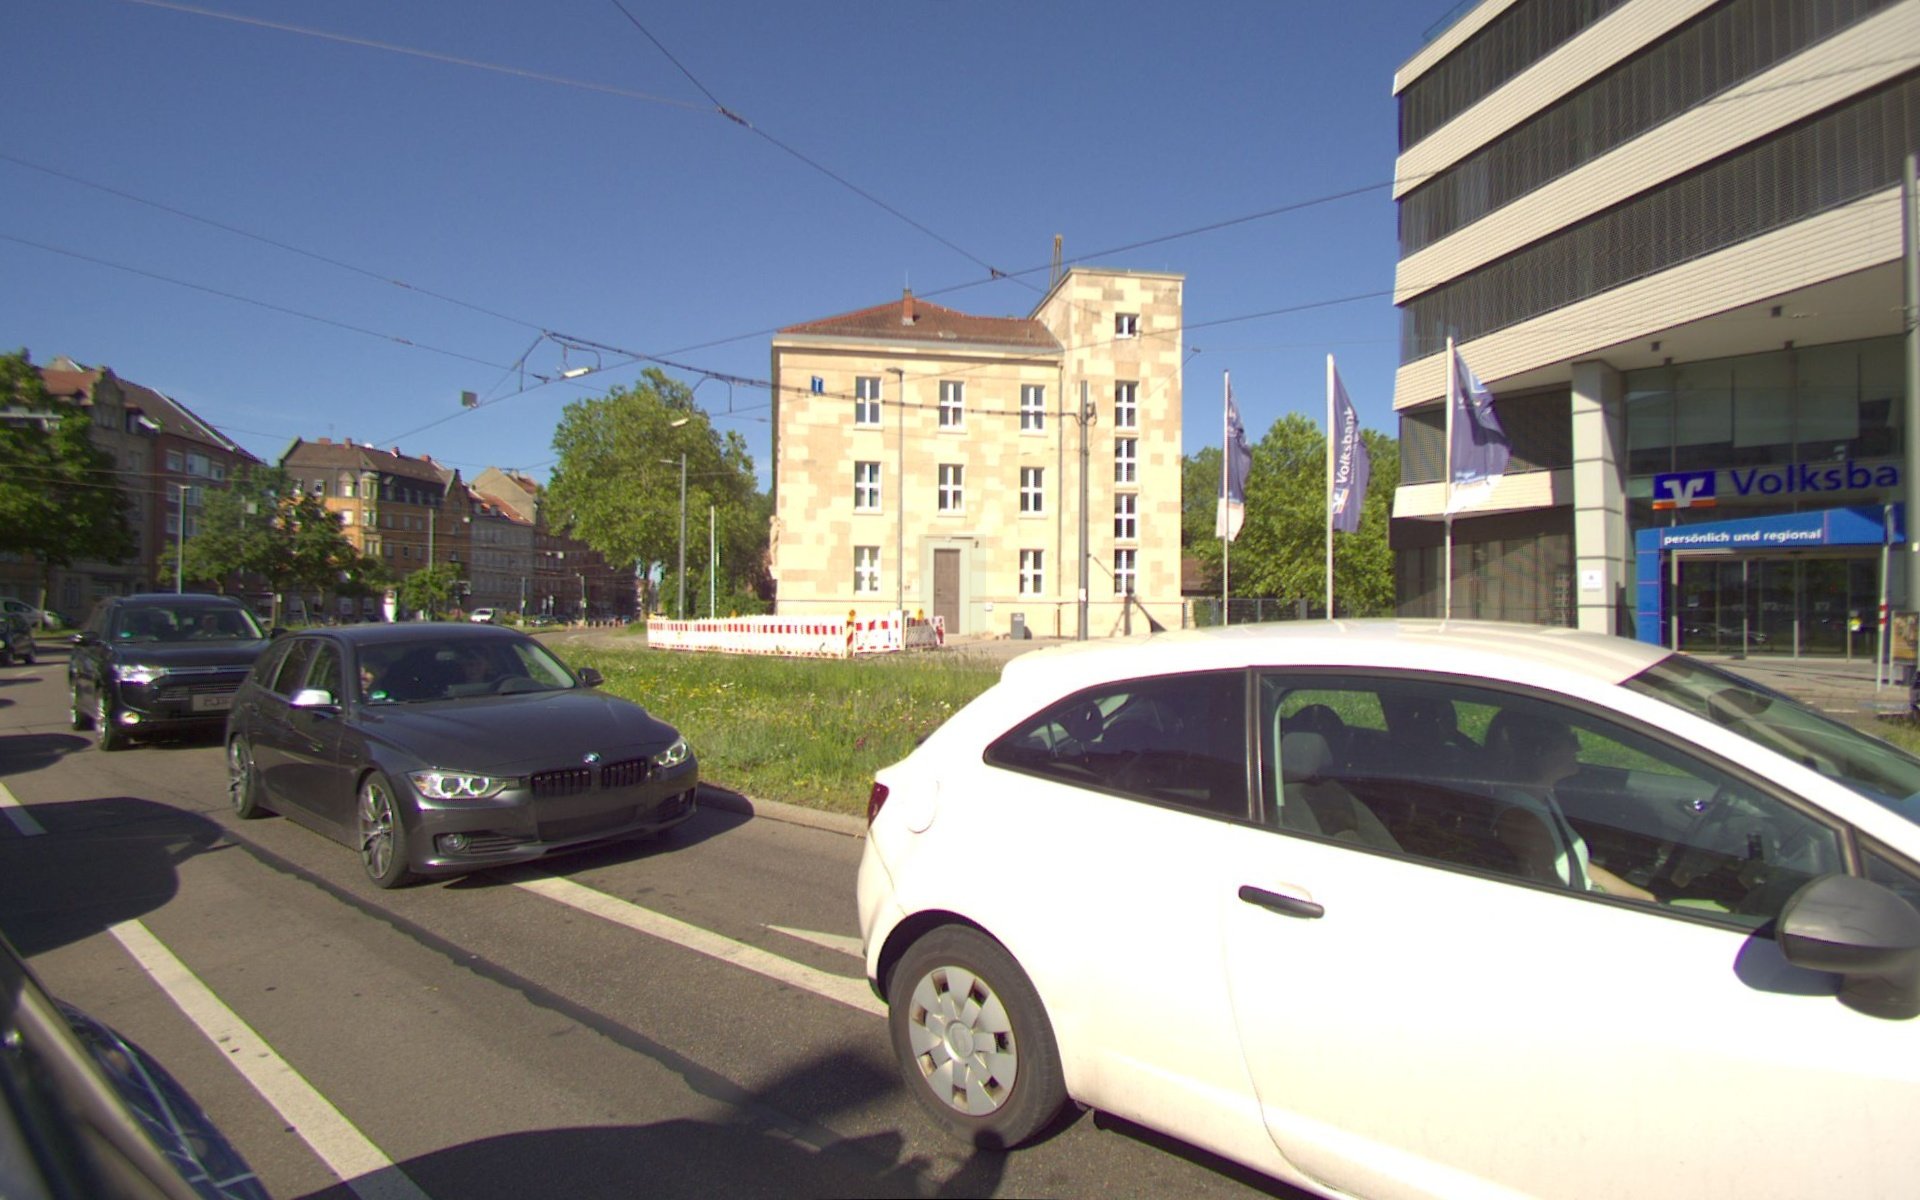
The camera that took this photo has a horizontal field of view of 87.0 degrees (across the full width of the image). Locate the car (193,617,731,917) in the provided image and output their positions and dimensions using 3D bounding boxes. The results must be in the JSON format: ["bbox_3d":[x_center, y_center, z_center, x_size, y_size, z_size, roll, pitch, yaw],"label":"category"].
[{"bbox_3d":[-3.603,0.827,6.884,4.424,1.377,1.719,-1,0,41],"label":"car"}]

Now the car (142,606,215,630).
[{"bbox_3d":[-53.938,1.272,69.877,3.771,1.603,1.601,2,-2,-44],"label":"car"}]

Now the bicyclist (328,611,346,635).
[{"bbox_3d":[-44.625,1.663,72.530,0.724,1.707,0.972,0,-1,-6],"label":"bicyclist"}]

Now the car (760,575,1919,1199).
[{"bbox_3d":[1.476,0.694,2.485,4.020,1.452,1.714,0,2,40],"label":"car"}]

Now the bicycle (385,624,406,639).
[{"bbox_3d":[-47.171,2.628,84.529,0.752,1.153,2.287,0,-1,-8],"label":"bicycle"}]

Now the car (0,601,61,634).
[{"bbox_3d":[-49.936,0.890,52.795,4.514,1.680,1.601,2,-2,-43],"label":"car"}]

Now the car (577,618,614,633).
[{"bbox_3d":[-42.841,3.003,119.053,4.001,1.669,1.772,1,-1,-16],"label":"car"}]

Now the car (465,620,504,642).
[{"bbox_3d":[-46.340,3.005,98.755,1.953,2.101,4.719,1,-1,-5],"label":"car"}]

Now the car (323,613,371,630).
[{"bbox_3d":[-69.578,2.457,115.008,4.276,1.896,1.846,1,-1,-15],"label":"car"}]

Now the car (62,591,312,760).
[{"bbox_3d":[-9.385,0.773,12.135,1.817,1.658,4.400,-1,-1,-45],"label":"car"}]

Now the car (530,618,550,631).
[{"bbox_3d":[-49.621,2.925,119.616,1.809,1.483,4.728,1,-1,-19],"label":"car"}]

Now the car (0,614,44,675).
[{"bbox_3d":[-28.412,1.245,29.466,1.809,1.659,4.161,2,-1,-31],"label":"car"}]

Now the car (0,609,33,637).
[{"bbox_3d":[-48.771,1.151,50.389,3.768,1.390,1.602,2,-2,-41],"label":"car"}]

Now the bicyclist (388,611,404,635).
[{"bbox_3d":[-47.128,1.913,84.563,0.836,2.029,1.198,0,-1,-8],"label":"bicyclist"}]

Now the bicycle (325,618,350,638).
[{"bbox_3d":[-44.627,2.004,72.581,0.726,1.371,2.078,0,-1,-6],"label":"bicycle"}]

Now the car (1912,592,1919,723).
[{"bbox_3d":[13.406,0.679,11.017,4.174,1.658,1.803,-1,-2,36],"label":"car"}]
